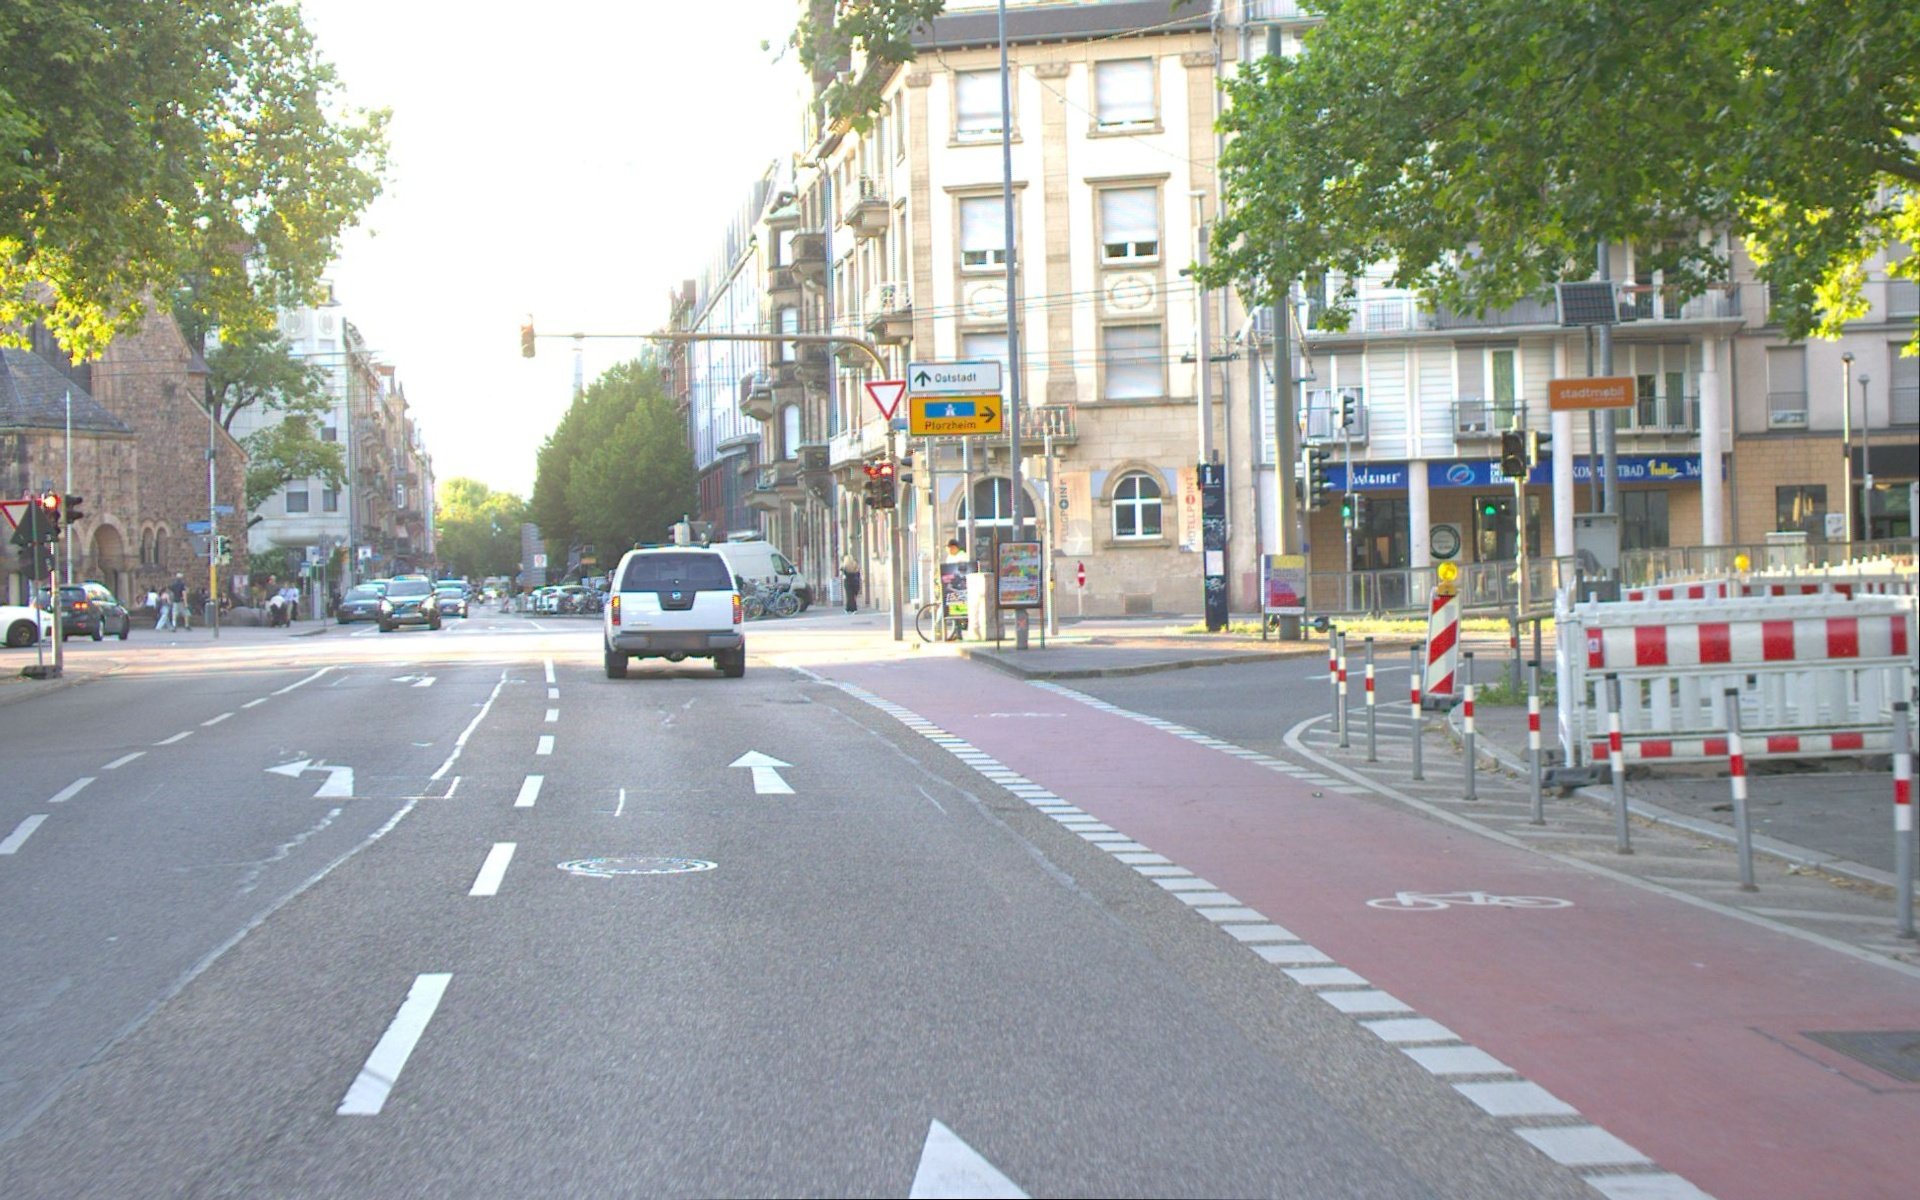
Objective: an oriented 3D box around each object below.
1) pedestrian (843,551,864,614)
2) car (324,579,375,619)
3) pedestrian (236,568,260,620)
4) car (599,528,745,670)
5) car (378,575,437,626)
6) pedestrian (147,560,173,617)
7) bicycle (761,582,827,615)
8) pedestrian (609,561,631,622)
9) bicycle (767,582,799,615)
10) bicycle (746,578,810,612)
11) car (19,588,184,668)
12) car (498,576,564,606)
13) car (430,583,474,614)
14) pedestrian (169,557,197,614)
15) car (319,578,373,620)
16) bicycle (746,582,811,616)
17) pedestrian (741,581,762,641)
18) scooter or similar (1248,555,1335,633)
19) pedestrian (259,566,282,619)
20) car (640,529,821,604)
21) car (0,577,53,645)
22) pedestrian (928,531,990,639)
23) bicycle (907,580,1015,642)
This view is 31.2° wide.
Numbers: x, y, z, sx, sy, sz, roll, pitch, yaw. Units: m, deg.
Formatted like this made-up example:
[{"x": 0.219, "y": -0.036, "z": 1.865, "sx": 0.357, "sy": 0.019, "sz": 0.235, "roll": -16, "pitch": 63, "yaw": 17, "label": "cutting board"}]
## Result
[{"x": -3.180, "y": -0.526, "z": 102.576, "sx": 0.593, "sy": 1.880, "sz": 0.647, "roll": -1, "pitch": 1, "yaw": -1, "label": "pedestrian"}, {"x": -25.352, "y": -0.044, "z": 142.764, "sx": 1.993, "sy": 1.645, "sz": 3.822, "roll": 0, "pitch": 0, "yaw": -11, "label": "car"}, {"x": -25.721, "y": -0.224, "z": 124.206, "sx": 0.593, "sy": 1.880, "sz": 0.585, "roll": -1, "pitch": 1, "yaw": 15, "label": "pedestrian"}, {"x": -3.960, "y": -0.029, "z": 47.324, "sx": 1.866, "sy": 1.808, "sz": 4.001, "roll": -2, "pitch": 1, "yaw": -5, "label": "car"}, {"x": -18.260, "y": 0.016, "z": 113.576, "sx": 1.781, "sy": 1.645, "sz": 3.822, "roll": 0, "pitch": 0, "yaw": -11, "label": "car"}, {"x": -26.281, "y": -0.376, "z": 112.991, "sx": 0.594, "sy": 1.880, "sz": 0.553, "roll": -1, "pitch": 1, "yaw": 19, "label": "pedestrian"}, {"x": -5.032, "y": -0.040, "z": 104.301, "sx": 1.916, "sy": 0.965, "sz": 0.545, "roll": -1, "pitch": 1, "yaw": 11, "label": "bicycle"}, {"x": -10.597, "y": -0.277, "z": 107.263, "sx": 0.593, "sy": 1.880, "sz": 0.647, "roll": -1, "pitch": 1, "yaw": -1, "label": "pedestrian"}, {"x": -5.432, "y": -0.050, "z": 105.642, "sx": 0.544, "sy": 0.965, "sz": 1.920, "roll": -1, "pitch": 1, "yaw": 11, "label": "bicycle"}, {"x": -5.466, "y": -0.153, "z": 103.209, "sx": 1.914, "sy": 0.965, "sz": 0.546, "roll": -1, "pitch": 1, "yaw": -5, "label": "bicycle"}, {"x": -21.671, "y": 0.690, "z": 86.962, "sx": 2.079, "sy": 1.835, "sz": 4.628, "roll": -1, "pitch": 1, "yaw": 14, "label": "car"}, {"x": -26.950, "y": -0.548, "z": 215.949, "sx": 3.986, "sy": 1.809, "sz": 2.001, "roll": -1, "pitch": 1, "yaw": -9, "label": "car"}, {"x": -25.230, "y": -0.088, "z": 170.640, "sx": 1.993, "sy": 1.501, "sz": 3.822, "roll": 0, "pitch": 0, "yaw": -11, "label": "car"}, {"x": -25.546, "y": -0.474, "z": 112.982, "sx": 0.654, "sy": 1.880, "sz": 0.585, "roll": -1, "pitch": 1, "yaw": 20, "label": "pedestrian"}, {"x": -24.151, "y": -0.049, "z": 135.107, "sx": 1.993, "sy": 1.645, "sz": 3.822, "roll": 0, "pitch": 0, "yaw": -11, "label": "car"}, {"x": -5.454, "y": -0.040, "z": 103.490, "sx": 1.914, "sy": 0.965, "sz": 0.546, "roll": -1, "pitch": 1, "yaw": -5, "label": "bicycle"}, {"x": -6.259, "y": 0.323, "z": 103.201, "sx": 0.593, "sy": 1.762, "sz": 0.653, "roll": -1, "pitch": 1, "yaw": -1, "label": "pedestrian"}, {"x": 5.439, "y": -0.097, "z": 56.464, "sx": 0.544, "sy": 1.246, "sz": 1.389, "roll": -2, "pitch": 1, "yaw": -43, "label": "scooter or similar"}, {"x": -24.847, "y": -0.279, "z": 123.859, "sx": 0.594, "sy": 1.880, "sz": 0.553, "roll": -1, "pitch": 1, "yaw": 16, "label": "pedestrian"}, {"x": -7.283, "y": -1.076, "z": 109.636, "sx": 2.071, "sy": 2.280, "sz": 5.808, "roll": -1, "pitch": 1, "yaw": 44, "label": "car"}, {"x": -23.470, "y": 0.286, "z": 79.317, "sx": 4.628, "sy": 1.525, "sz": 2.000, "roll": -1, "pitch": 1, "yaw": -25, "label": "car"}, {"x": -0.013, "y": -0.248, "z": 57.060, "sx": 0.794, "sy": 1.762, "sz": 0.721, "roll": -1, "pitch": 1, "yaw": -20, "label": "pedestrian"}, {"x": 0.013, "y": 0.178, "z": 56.565, "sx": 1.691, "sy": 0.965, "sz": 0.546, "roll": -1, "pitch": 1, "yaw": -10, "label": "bicycle"}]
